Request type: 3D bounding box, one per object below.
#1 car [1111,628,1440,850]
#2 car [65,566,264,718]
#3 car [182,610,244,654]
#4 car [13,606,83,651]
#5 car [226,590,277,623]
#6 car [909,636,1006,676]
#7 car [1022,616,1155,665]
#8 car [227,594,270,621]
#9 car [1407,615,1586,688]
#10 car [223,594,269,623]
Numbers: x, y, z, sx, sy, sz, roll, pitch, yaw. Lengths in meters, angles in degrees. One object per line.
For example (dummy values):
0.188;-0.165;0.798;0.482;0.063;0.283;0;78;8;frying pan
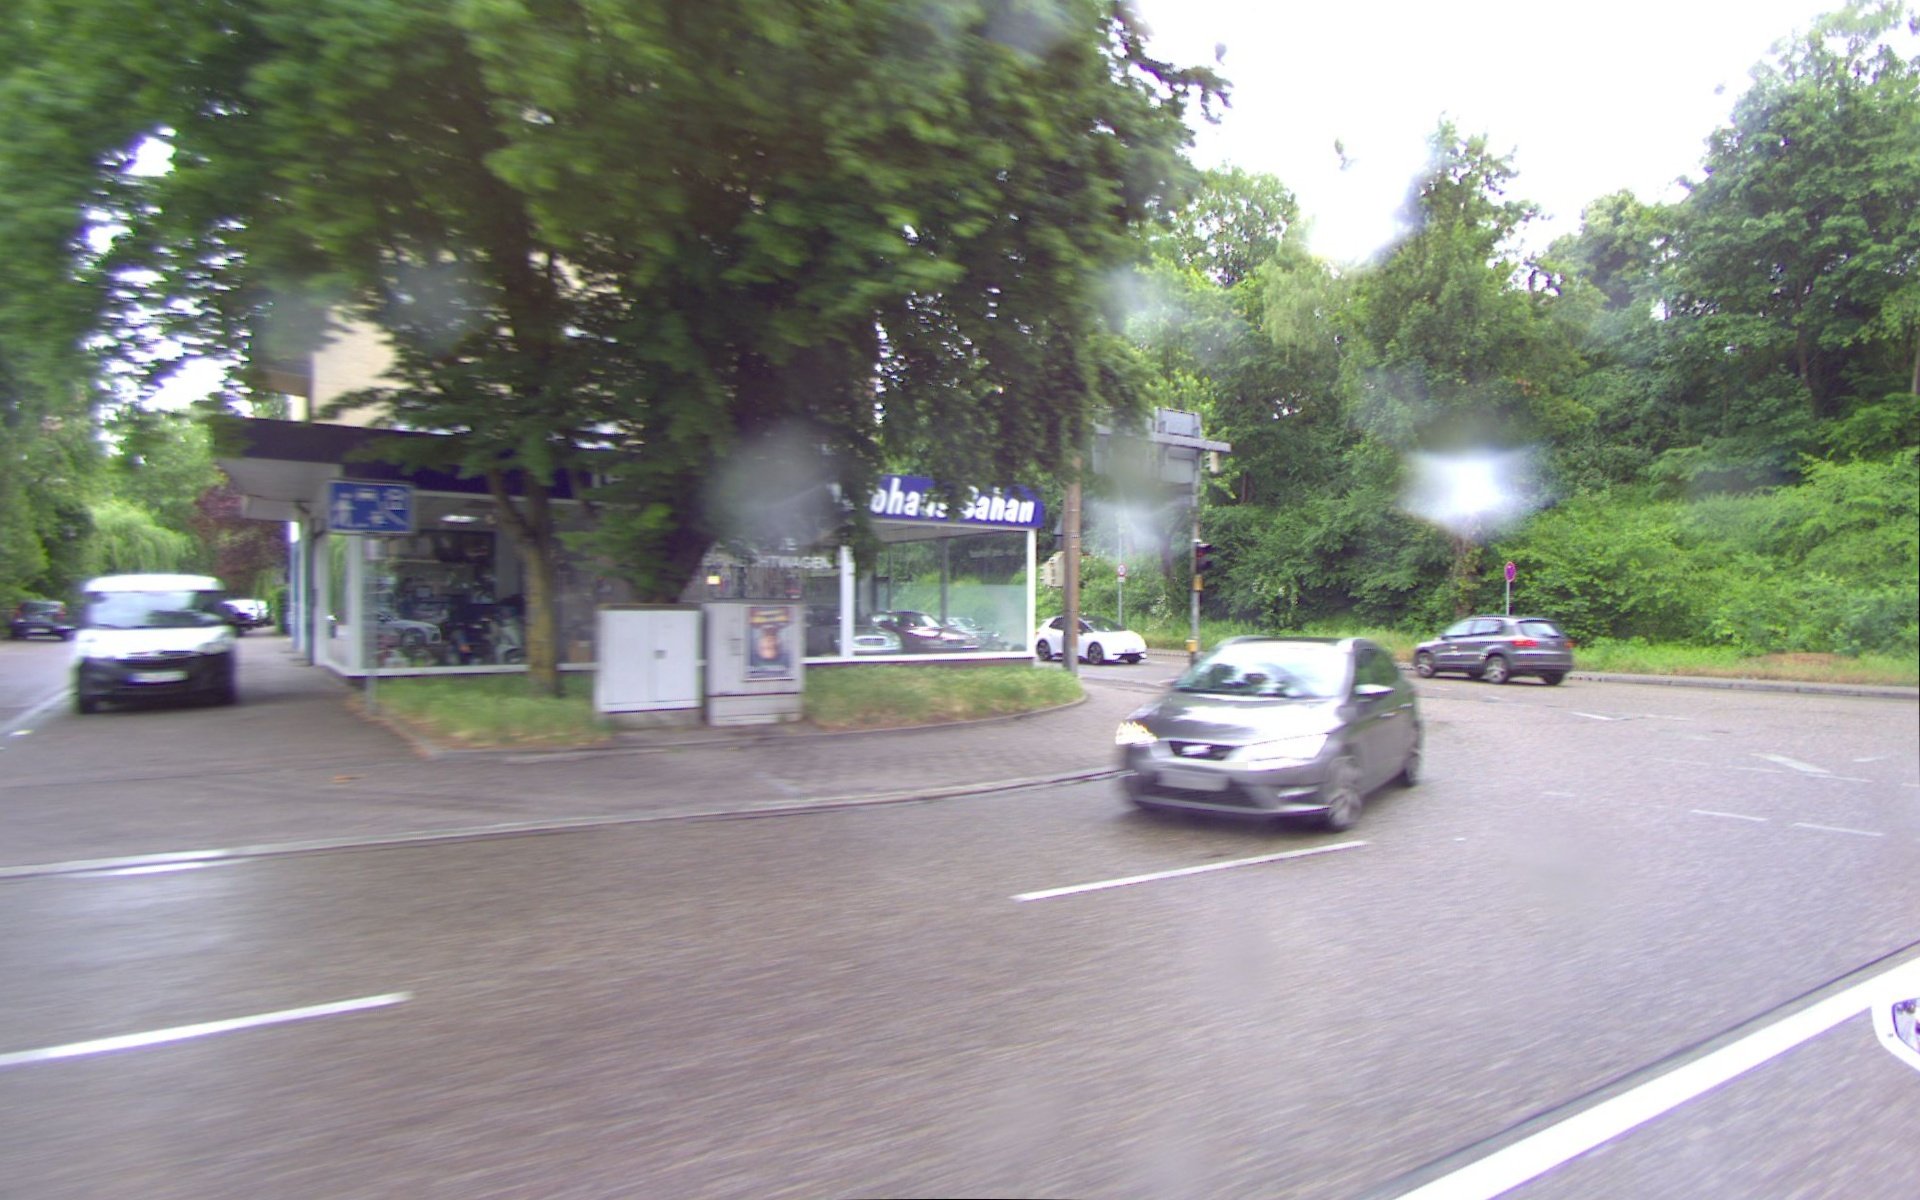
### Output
3.074;1.018;9.144;1.786;1.469;4.195;0;-1;33;car
-11.769;0.496;14.918;1.983;1.879;4.704;-2;1;-39;car
-32.628;1.350;43.827;1.983;1.676;4.704;-2;1;-39;car
-34.233;1.021;37.774;1.726;1.602;3.842;0;-1;-39;car
-38.699;0.313;54.821;1.983;1.676;4.704;-2;1;-39;car
-0.160;2.203;40.609;1.741;1.386;4.590;-2;0;-32;car
4.215;1.318;33.646;1.914;1.459;4.590;-2;0;-32;car
-47.279;0.471;66.700;1.983;1.676;4.704;-2;1;-39;car
13.432;1.229;25.431;1.786;1.624;3.989;0;0;-14;car
-43.657;0.481;61.400;1.983;1.676;4.704;-2;1;-39;car
